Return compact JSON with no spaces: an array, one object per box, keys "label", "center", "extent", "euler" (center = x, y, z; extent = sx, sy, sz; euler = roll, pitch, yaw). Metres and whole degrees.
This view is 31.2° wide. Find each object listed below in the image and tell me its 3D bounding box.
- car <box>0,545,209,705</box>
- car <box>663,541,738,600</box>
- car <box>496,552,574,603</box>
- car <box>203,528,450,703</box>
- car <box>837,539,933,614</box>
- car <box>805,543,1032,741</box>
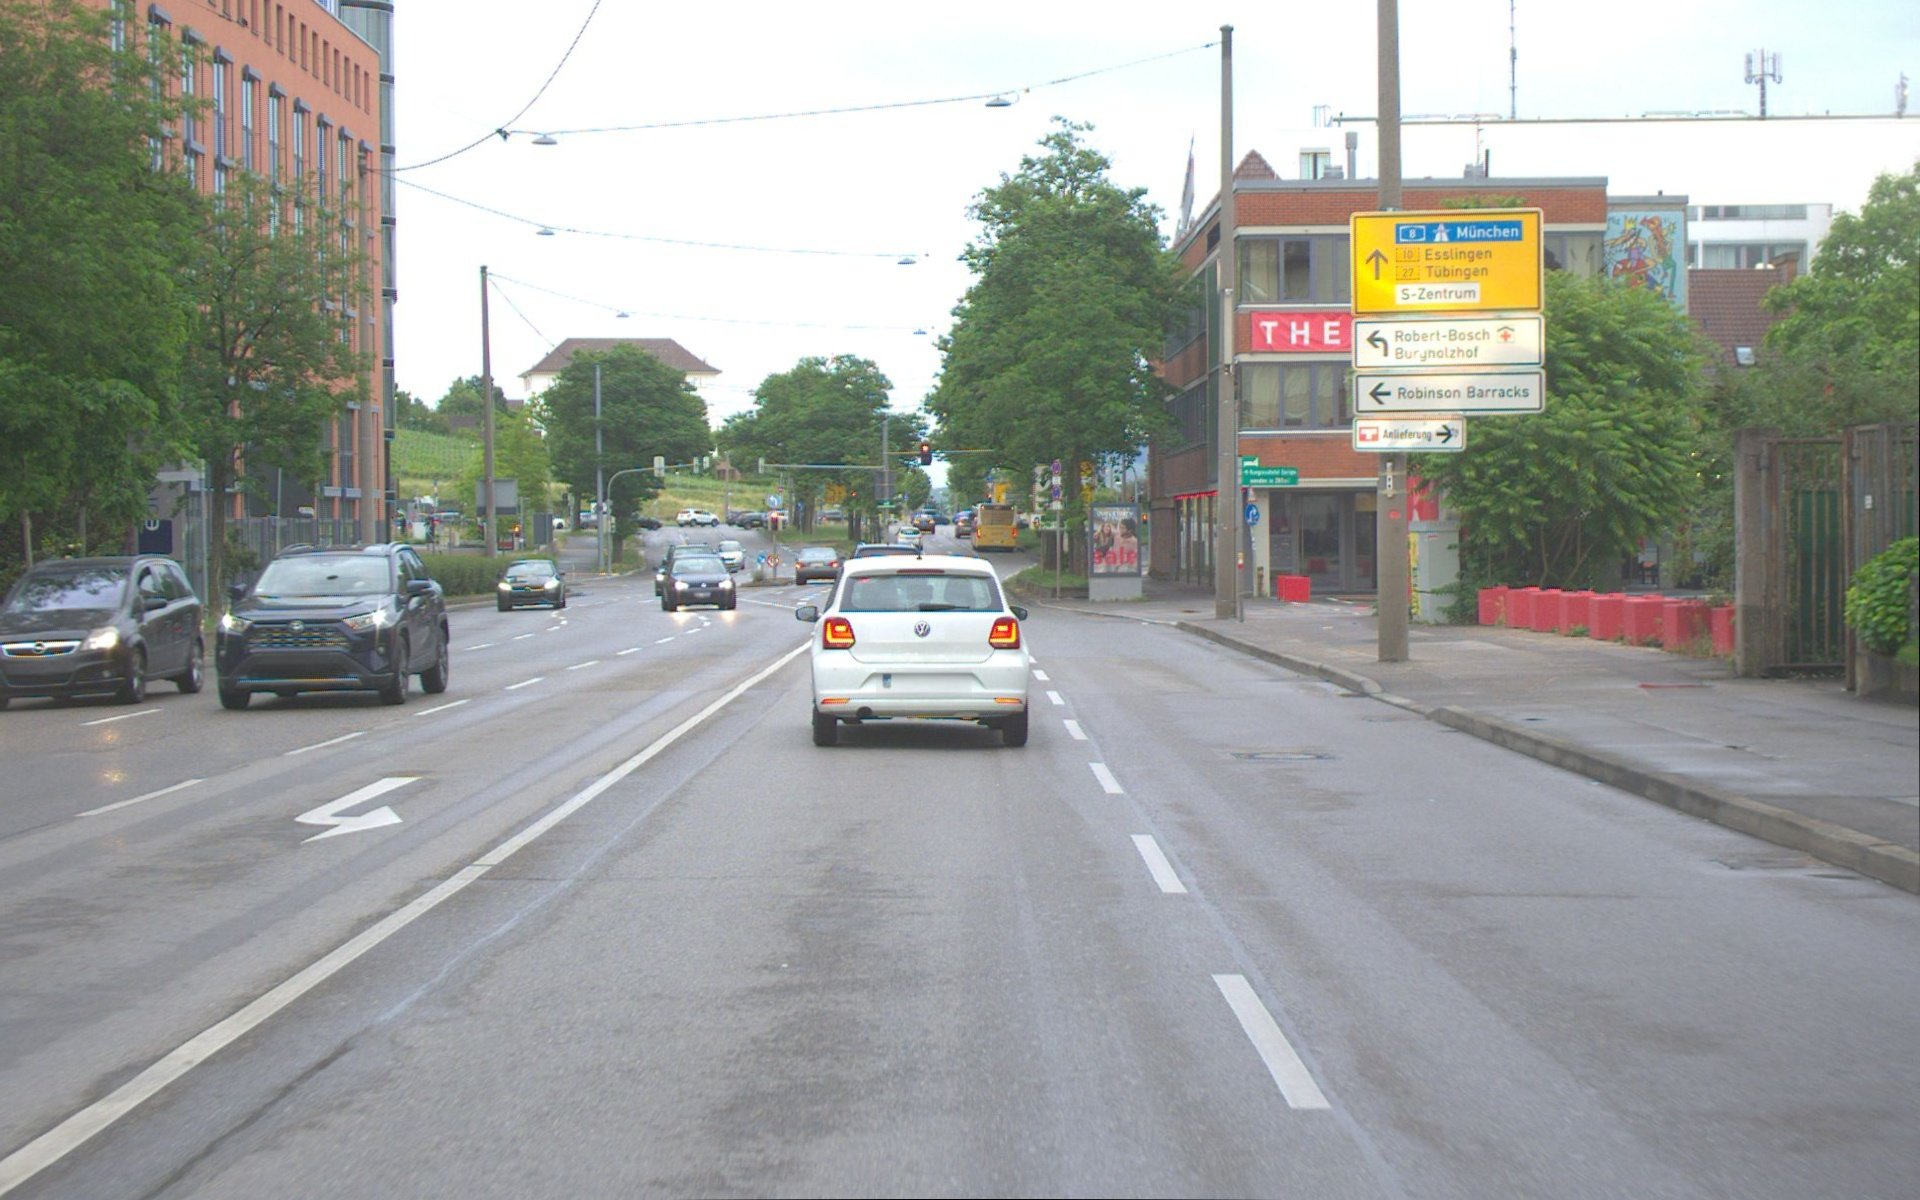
[{"label":"car","center":[-9.673,0.240,38.177],"extent":[1.708,1.560,4.034],"euler":[-3,2,0]},{"label":"car","center":[-6.723,-0.775,89.274],"extent":[1.659,1.481,3.820],"euler":[-1,1,0]},{"label":"car","center":[-12.459,-0.677,100.940],"extent":[1.621,1.319,4.446],"euler":[-2,2,1]},{"label":"car","center":[-6.588,0.104,36.190],"extent":[1.756,1.550,4.451],"euler":[-3,2,-1]},{"label":"car","center":[-1.596,-0.535,74.441],"extent":[1.993,1.568,4.000],"euler":[0,1,0]},{"label":"car","center":[-0.393,0.278,27.360],"extent":[1.671,1.469,3.780],"euler":[0,1,-3]}]
